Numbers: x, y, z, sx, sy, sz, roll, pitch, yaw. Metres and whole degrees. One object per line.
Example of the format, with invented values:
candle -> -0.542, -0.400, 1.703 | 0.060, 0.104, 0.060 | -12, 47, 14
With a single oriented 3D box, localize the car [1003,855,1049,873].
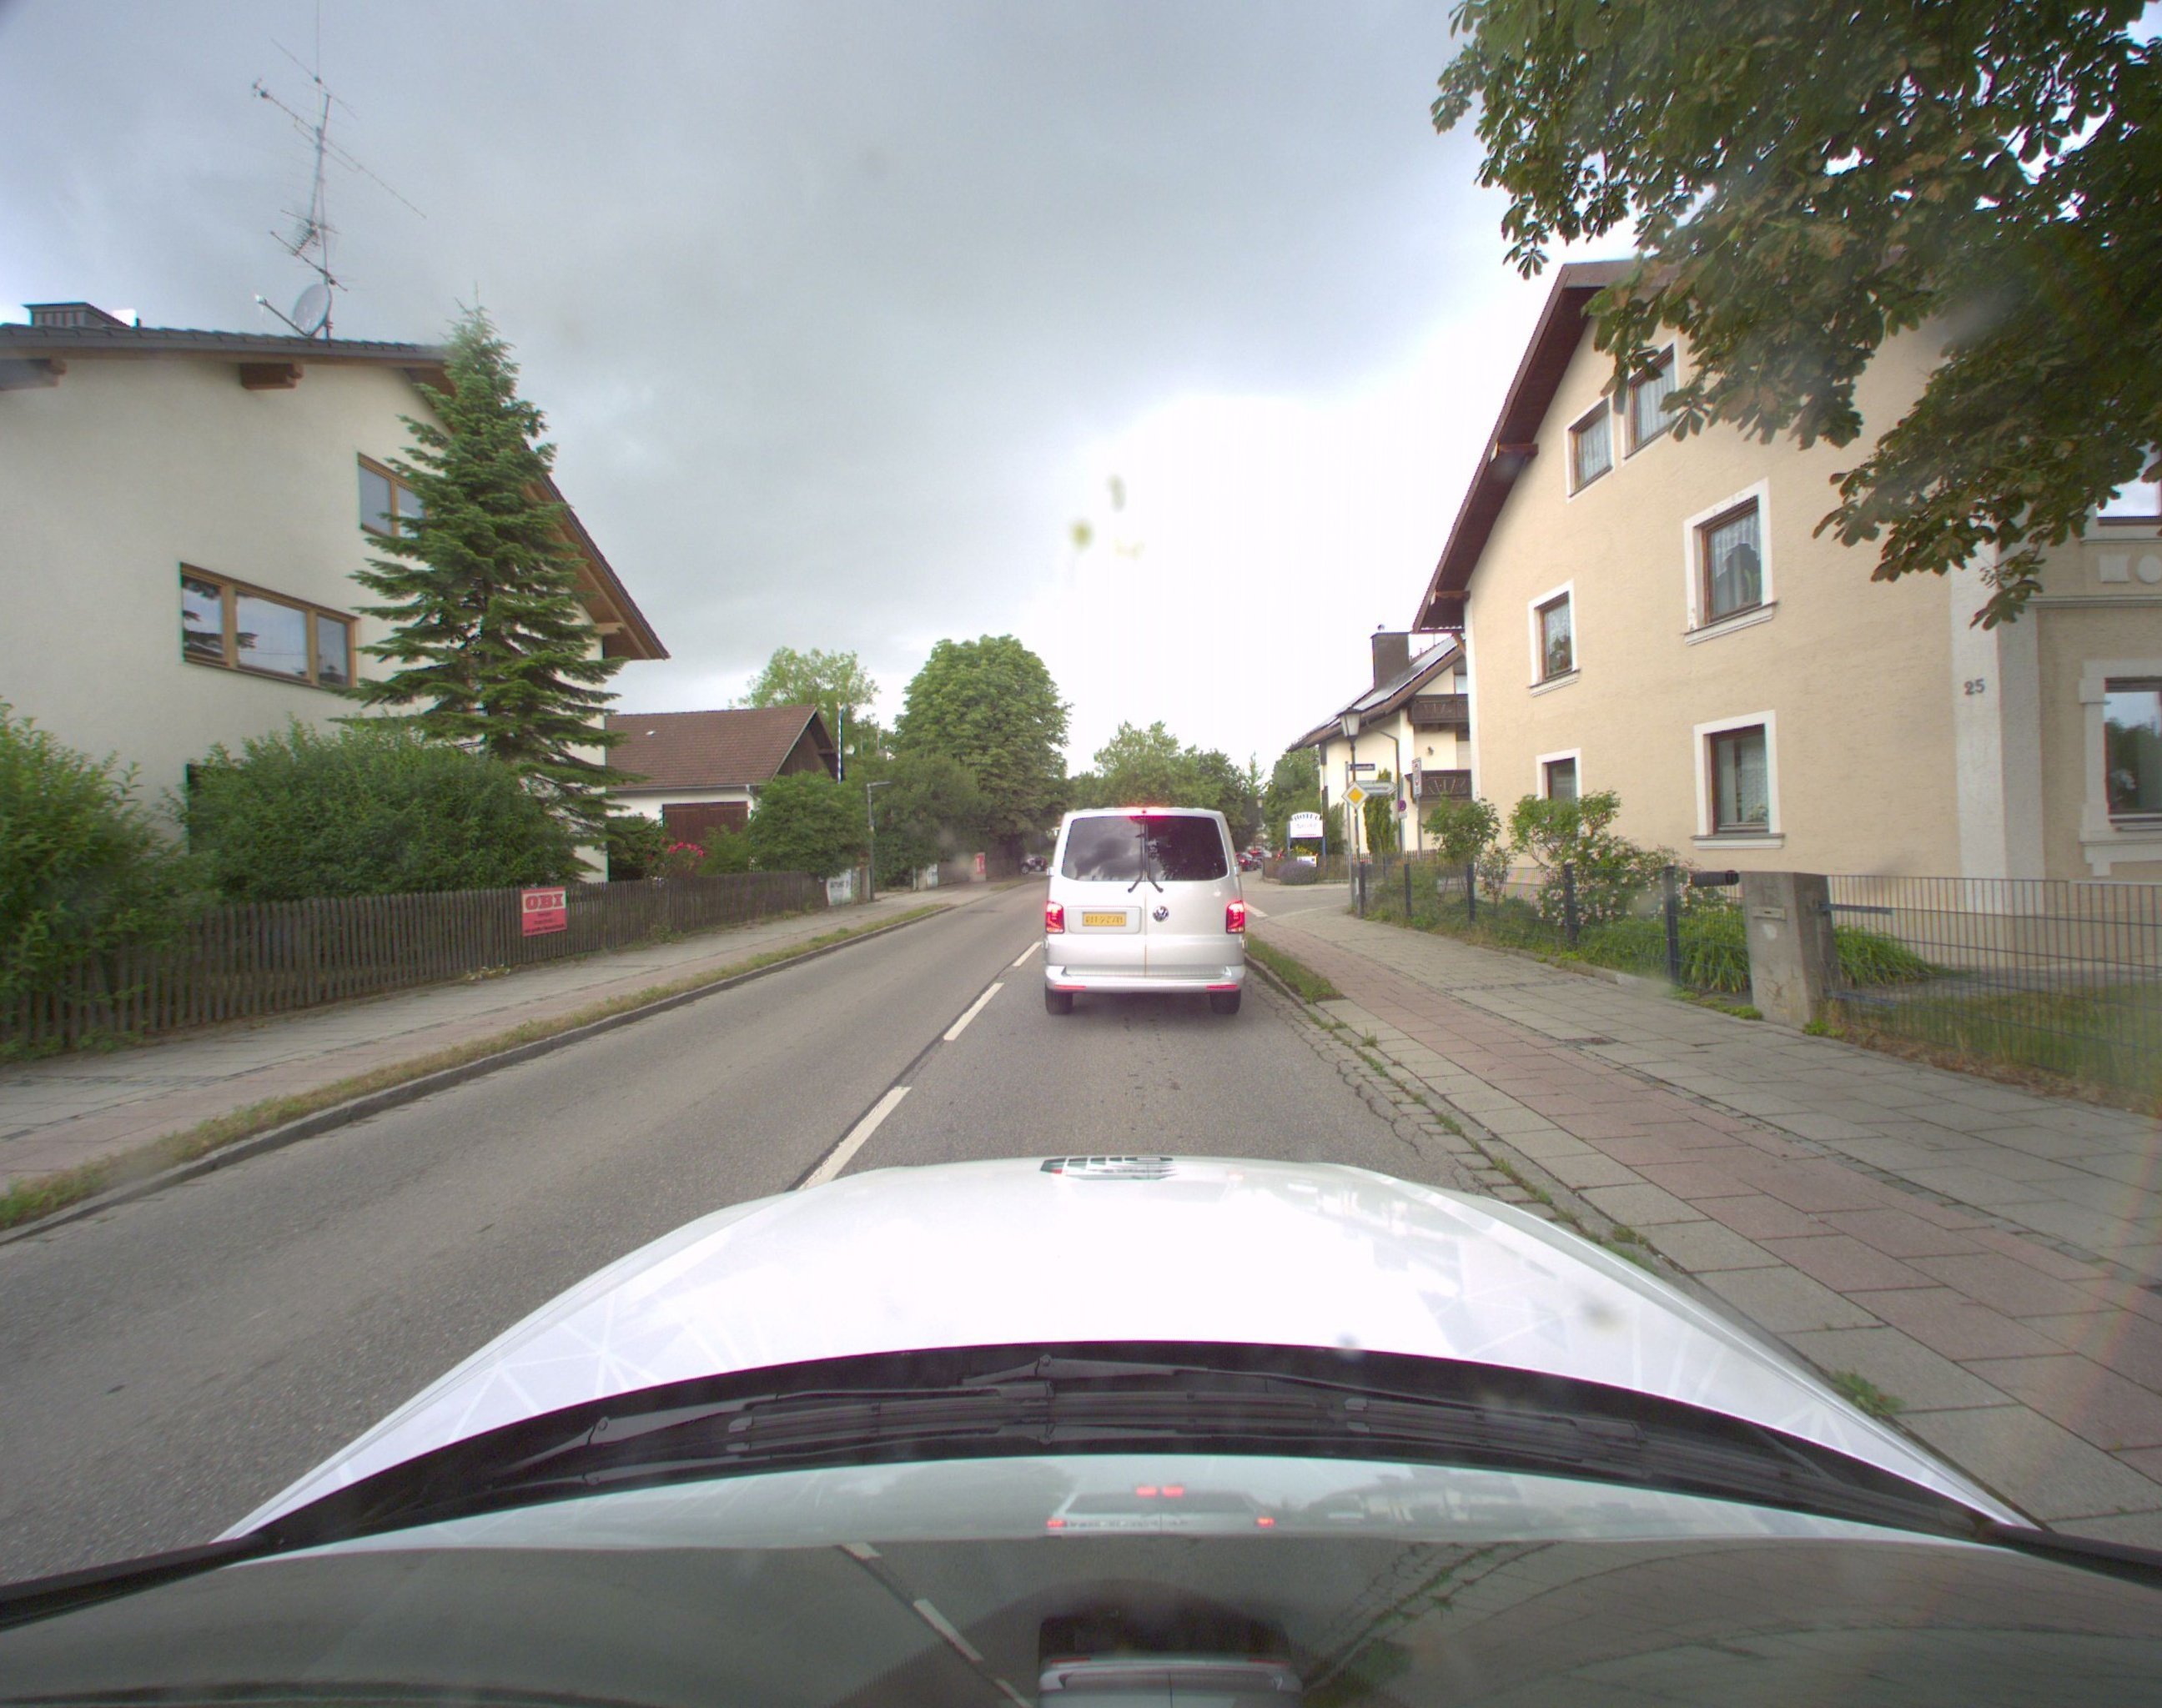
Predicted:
car -> -4.686, 0.822, 68.904 | 3.749, 1.346, 1.578 | -2, 0, -9

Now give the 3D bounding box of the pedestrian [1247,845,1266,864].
pedestrian -> 19.021, 0.104, 88.204 | 1.369, 2.013, 1.504 | -1, 0, -37

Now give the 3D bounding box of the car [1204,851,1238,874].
car -> 9.799, 0.582, 56.857 | 1.867, 1.535, 3.937 | -2, 0, 16

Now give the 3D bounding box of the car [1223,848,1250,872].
car -> 12.478, 0.447, 65.217 | 1.867, 1.748, 4.096 | -2, 0, 14

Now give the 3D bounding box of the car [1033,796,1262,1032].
car -> 0.650, 0.511, 8.845 | 1.874, 1.940, 3.923 | -2, 0, 2

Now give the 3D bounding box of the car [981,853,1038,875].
car -> -5.162, 0.709, 58.872 | 3.982, 1.486, 1.996 | -1, 0, -7

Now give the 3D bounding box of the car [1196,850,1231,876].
car -> 8.481, 0.563, 51.987 | 1.868, 1.535, 3.935 | -2, 0, 14

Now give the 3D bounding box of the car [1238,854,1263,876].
car -> 15.019, 0.924, 72.003 | 1.867, 1.825, 3.937 | -2, 0, 16
